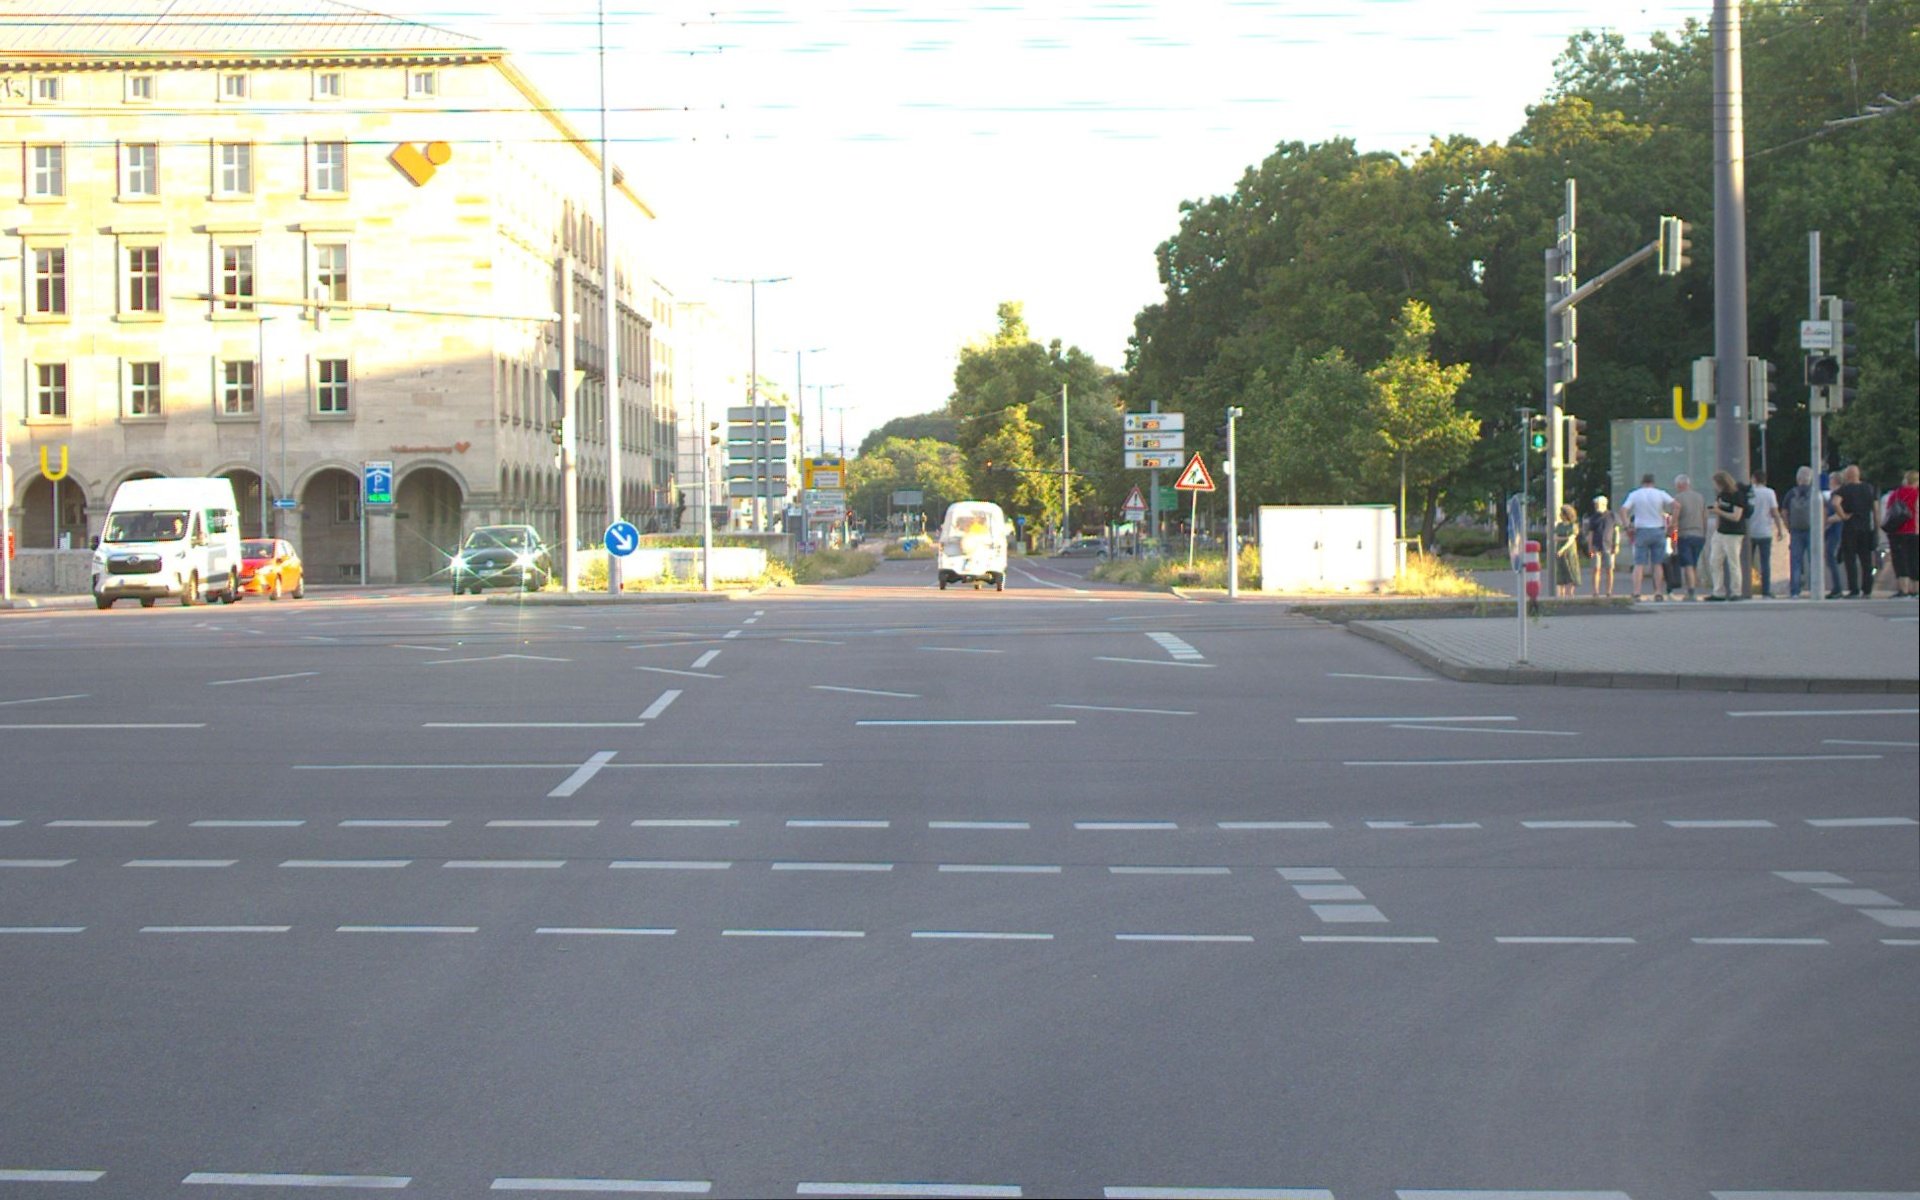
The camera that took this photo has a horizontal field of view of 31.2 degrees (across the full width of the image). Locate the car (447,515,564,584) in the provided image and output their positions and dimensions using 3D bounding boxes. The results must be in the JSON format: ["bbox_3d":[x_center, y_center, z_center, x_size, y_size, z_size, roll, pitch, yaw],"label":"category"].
[{"bbox_3d":[-9.560,-1.086,72.633,1.823,1.337,4.000,-1,2,2],"label":"car"}]

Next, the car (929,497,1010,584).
[{"bbox_3d":[0.180,-1.214,69.345,1.483,1.690,2.974,-1,2,-2],"label":"car"}]

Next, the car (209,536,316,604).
[{"bbox_3d":[-16.438,-0.727,81.193,1.738,1.482,4.001,-1,2,-1],"label":"car"}]

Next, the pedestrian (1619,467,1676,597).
[{"bbox_3d":[9.159,-0.905,45.793,0.711,1.719,0.668,0,2,14],"label":"pedestrian"}]

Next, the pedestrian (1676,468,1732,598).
[{"bbox_3d":[9.907,-0.894,45.787,0.711,1.719,0.668,0,2,13],"label":"pedestrian"}]

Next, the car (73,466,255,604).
[{"bbox_3d":[-16.697,-1.395,72.478,2.279,2.766,6.084,-1,2,1],"label":"car"}]

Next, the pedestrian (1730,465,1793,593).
[{"bbox_3d":[10.850,-0.968,46.541,0.711,1.719,0.915,0,2,6],"label":"pedestrian"}]

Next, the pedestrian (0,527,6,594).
[{"bbox_3d":[-25.185,-1.038,89.439,0.621,1.738,0.460,1,0,-5],"label":"pedestrian"}]

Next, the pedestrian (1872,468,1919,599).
[{"bbox_3d":[12.669,-0.895,46.011,0.845,1.728,0.705,0,2,12],"label":"pedestrian"}]

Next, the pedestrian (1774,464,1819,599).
[{"bbox_3d":[11.112,-0.911,45.660,0.572,1.785,0.638,0,2,14],"label":"pedestrian"}]

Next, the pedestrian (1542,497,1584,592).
[{"bbox_3d":[10.643,-0.987,60.646,0.560,1.649,0.901,0,2,20],"label":"pedestrian"}]

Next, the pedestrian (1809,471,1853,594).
[{"bbox_3d":[11.938,-0.928,47.128,0.572,1.673,0.638,0,2,14],"label":"pedestrian"}]

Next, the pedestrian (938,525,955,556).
[{"bbox_3d":[-0.786,-3.368,194.446,0.906,1.665,1.307,-1,2,-1],"label":"pedestrian"}]

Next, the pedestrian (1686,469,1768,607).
[{"bbox_3d":[9.680,-0.787,43.376,0.712,1.719,0.913,1,2,35],"label":"pedestrian"}]

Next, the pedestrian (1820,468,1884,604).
[{"bbox_3d":[11.833,-0.857,45.614,0.805,1.785,0.800,0,2,14],"label":"pedestrian"}]

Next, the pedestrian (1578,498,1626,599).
[{"bbox_3d":[11.318,-0.914,60.591,0.680,1.751,0.901,0,2,20],"label":"pedestrian"}]
